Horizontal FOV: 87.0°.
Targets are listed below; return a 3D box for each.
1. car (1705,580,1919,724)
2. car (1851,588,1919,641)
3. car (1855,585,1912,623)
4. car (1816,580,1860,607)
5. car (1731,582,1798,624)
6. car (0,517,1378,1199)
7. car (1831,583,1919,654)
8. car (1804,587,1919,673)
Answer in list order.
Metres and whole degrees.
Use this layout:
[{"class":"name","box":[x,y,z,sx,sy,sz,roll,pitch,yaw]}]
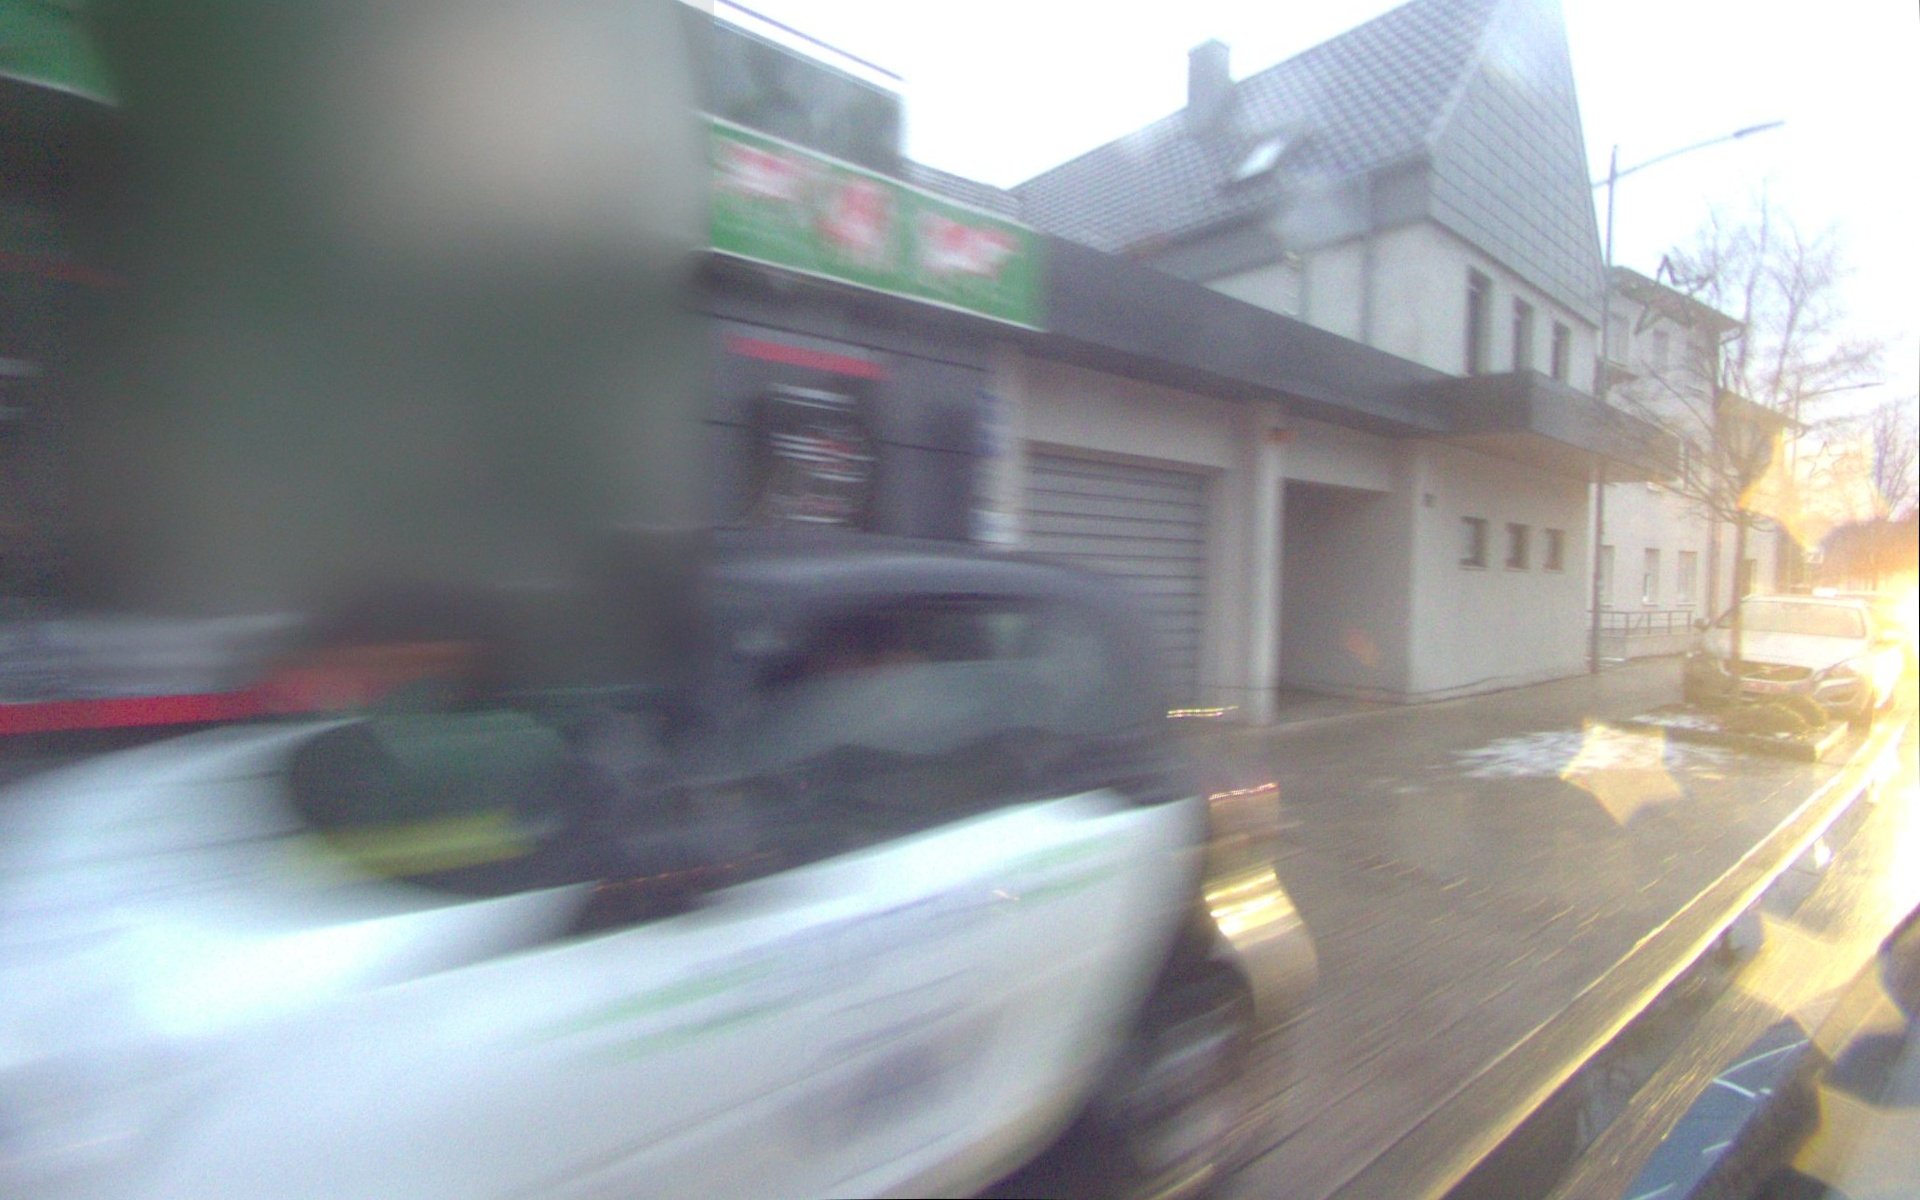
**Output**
[{"class":"car","box":[11.139,0.546,13.104,4.168,1.472,1.654,0,4,-44]},{"class":"car","box":[28.741,0.407,31.323,1.702,1.469,4.128,4,3,41]},{"class":"car","box":[41.843,0.129,45.865,1.807,1.583,4.238,3,3,43]},{"class":"car","box":[63.479,-0.505,73.231,1.906,1.812,4.508,3,2,35]},{"class":"car","box":[32.948,0.076,41.526,1.802,1.571,4.252,3,2,34]},{"class":"car","box":[-0.503,0.617,2.373,2.679,1.432,1.649,1,4,-41]},{"class":"car","box":[23.184,0.392,25.481,1.665,1.595,4.426,3,3,43]},{"class":"car","box":[18.593,0.525,20.518,1.956,1.552,4.930,-1,0,43]}]
